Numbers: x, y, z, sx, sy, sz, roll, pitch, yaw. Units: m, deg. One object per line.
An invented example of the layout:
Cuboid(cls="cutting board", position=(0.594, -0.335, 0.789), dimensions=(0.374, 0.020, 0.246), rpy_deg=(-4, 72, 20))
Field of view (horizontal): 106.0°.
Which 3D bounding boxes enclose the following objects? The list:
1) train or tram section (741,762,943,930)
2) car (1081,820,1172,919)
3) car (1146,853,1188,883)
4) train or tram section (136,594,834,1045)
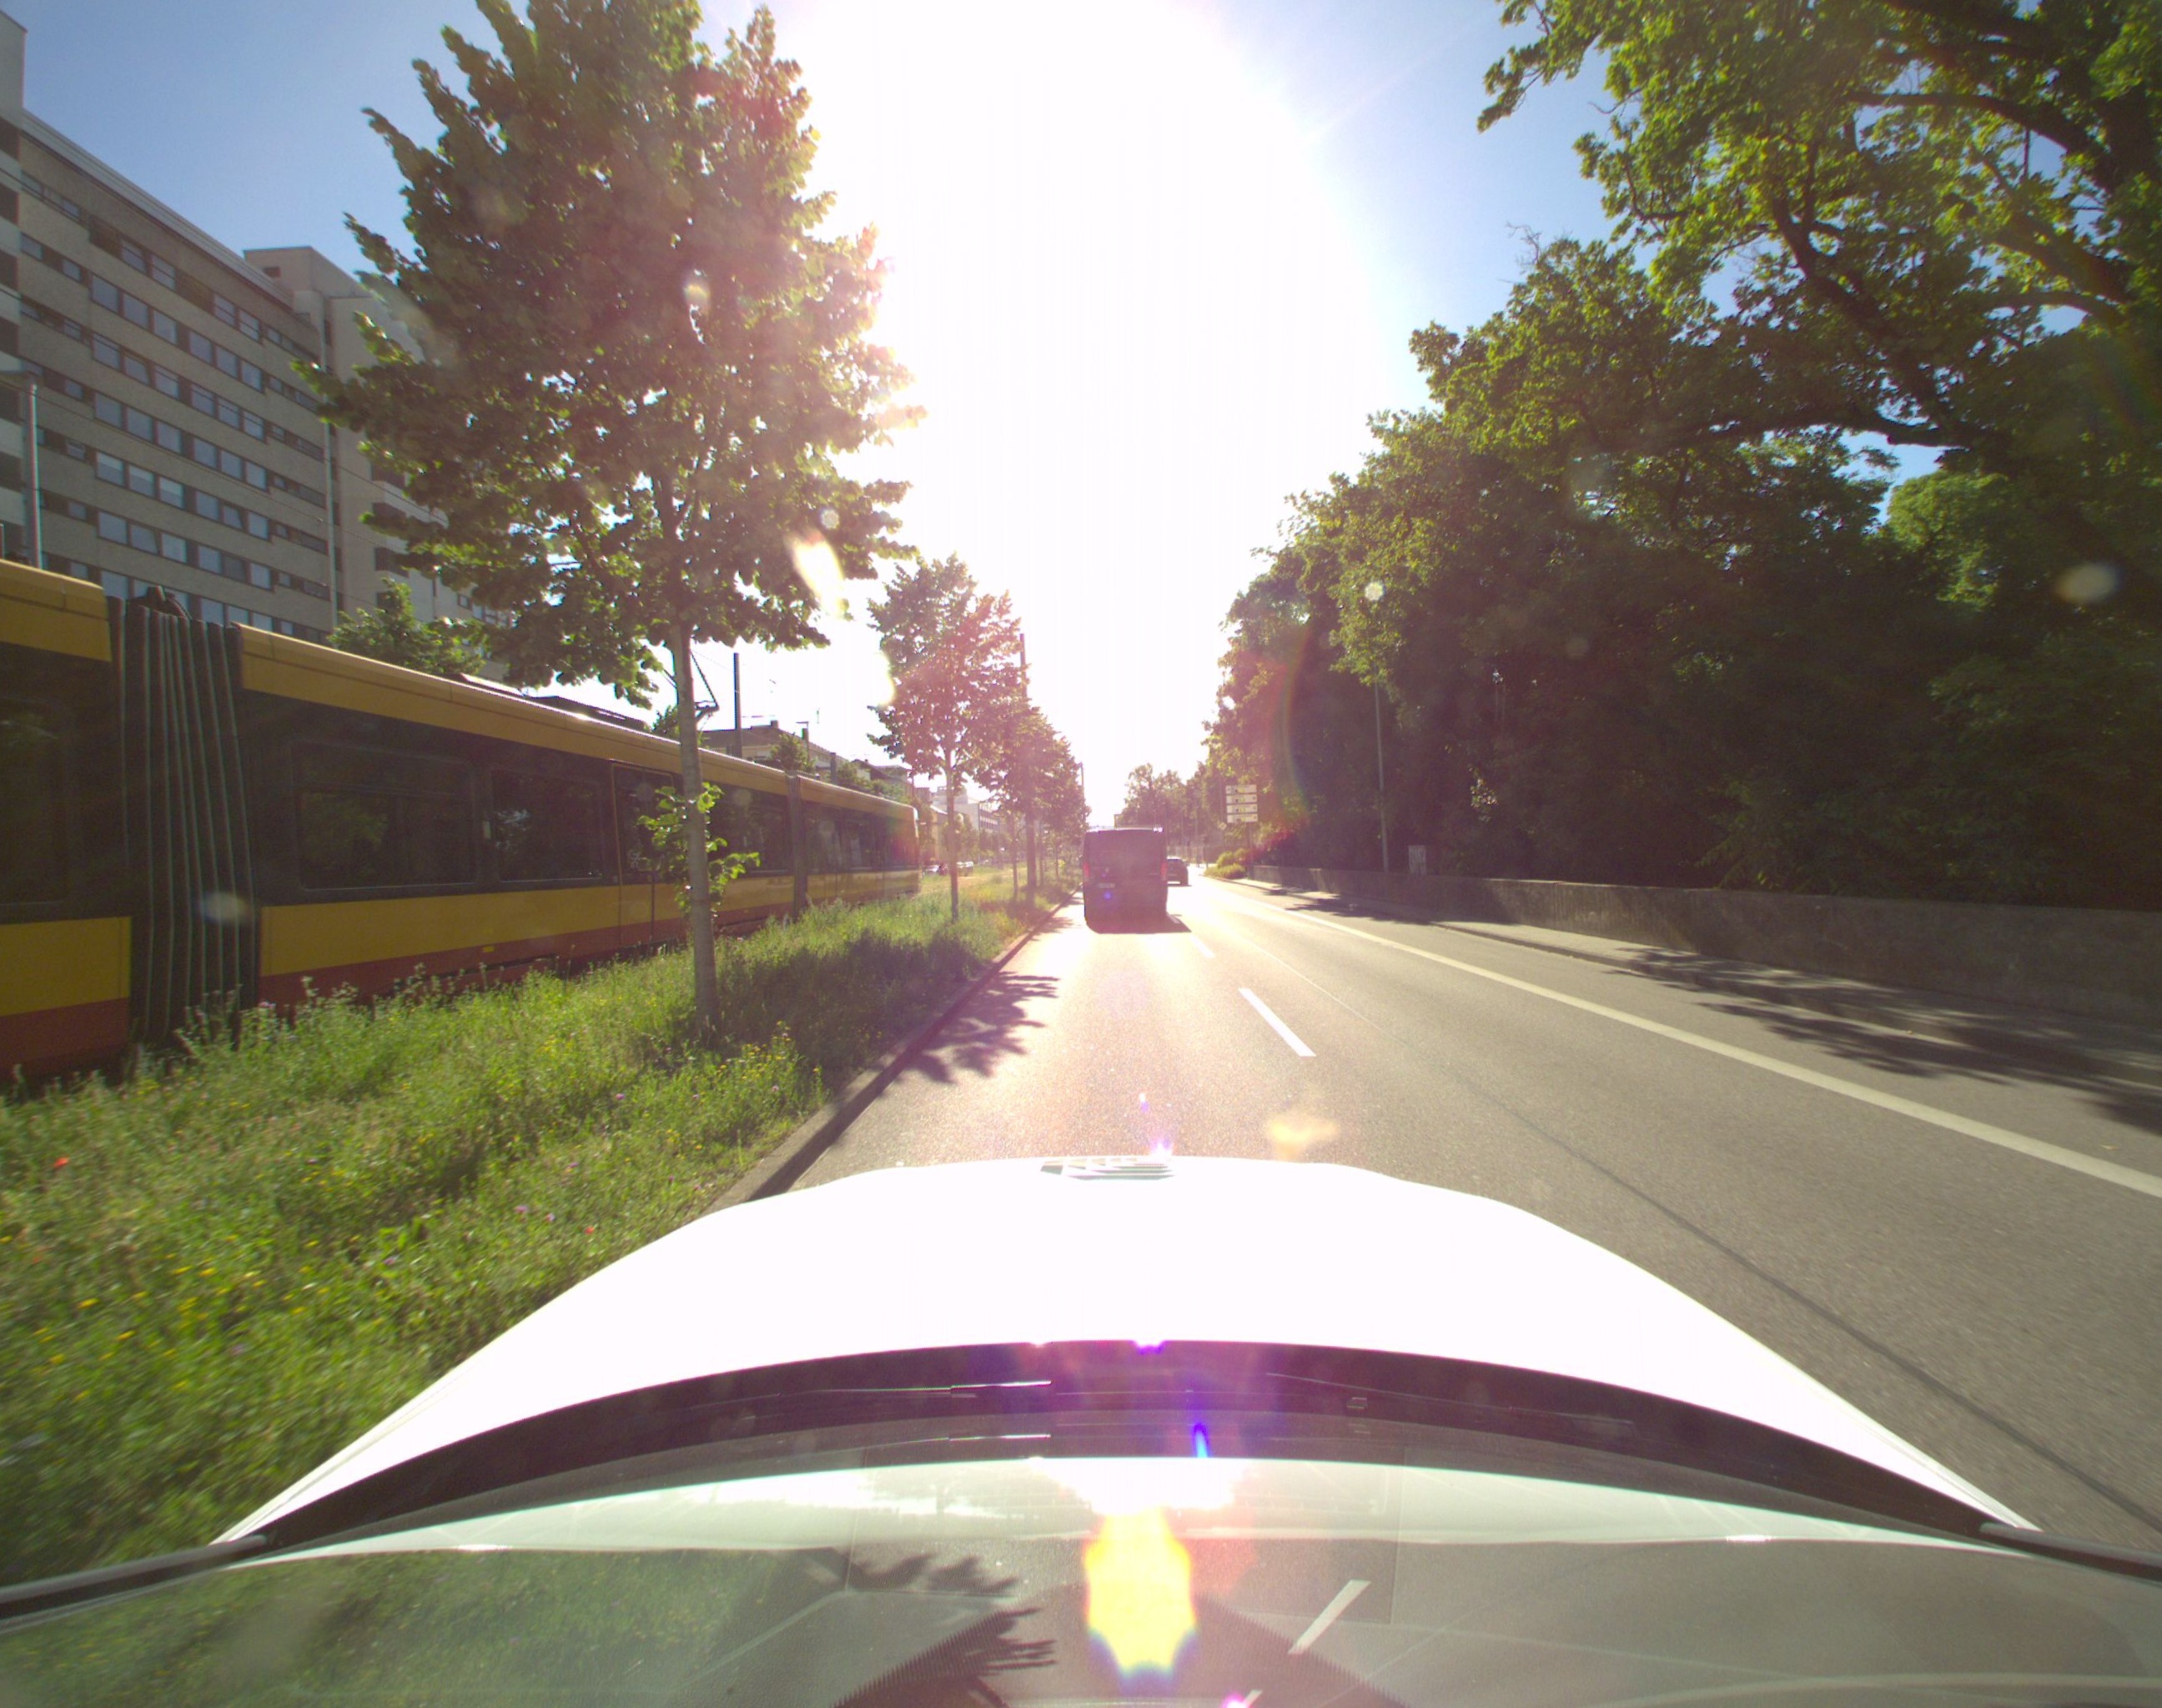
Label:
Cuboid(cls="train or tram section", position=(-6.274, -0.169, 23.822), dimensions=(1.986, 3.669, 11.689), rpy_deg=(-1, 0, 2))
Cuboid(cls="car", position=(1.107, 0.364, 20.935), dimensions=(2.075, 2.249, 4.001), rpy_deg=(-1, 0, 1))
Cuboid(cls="car", position=(4.438, 0.693, 42.448), dimensions=(1.758, 1.462, 3.999), rpy_deg=(-1, 0, 0))
Cuboid(cls="train or tram section", position=(-6.623, -0.274, 12.358), dimensions=(1.986, 3.669, 11.319), rpy_deg=(-1, 0, 1))
